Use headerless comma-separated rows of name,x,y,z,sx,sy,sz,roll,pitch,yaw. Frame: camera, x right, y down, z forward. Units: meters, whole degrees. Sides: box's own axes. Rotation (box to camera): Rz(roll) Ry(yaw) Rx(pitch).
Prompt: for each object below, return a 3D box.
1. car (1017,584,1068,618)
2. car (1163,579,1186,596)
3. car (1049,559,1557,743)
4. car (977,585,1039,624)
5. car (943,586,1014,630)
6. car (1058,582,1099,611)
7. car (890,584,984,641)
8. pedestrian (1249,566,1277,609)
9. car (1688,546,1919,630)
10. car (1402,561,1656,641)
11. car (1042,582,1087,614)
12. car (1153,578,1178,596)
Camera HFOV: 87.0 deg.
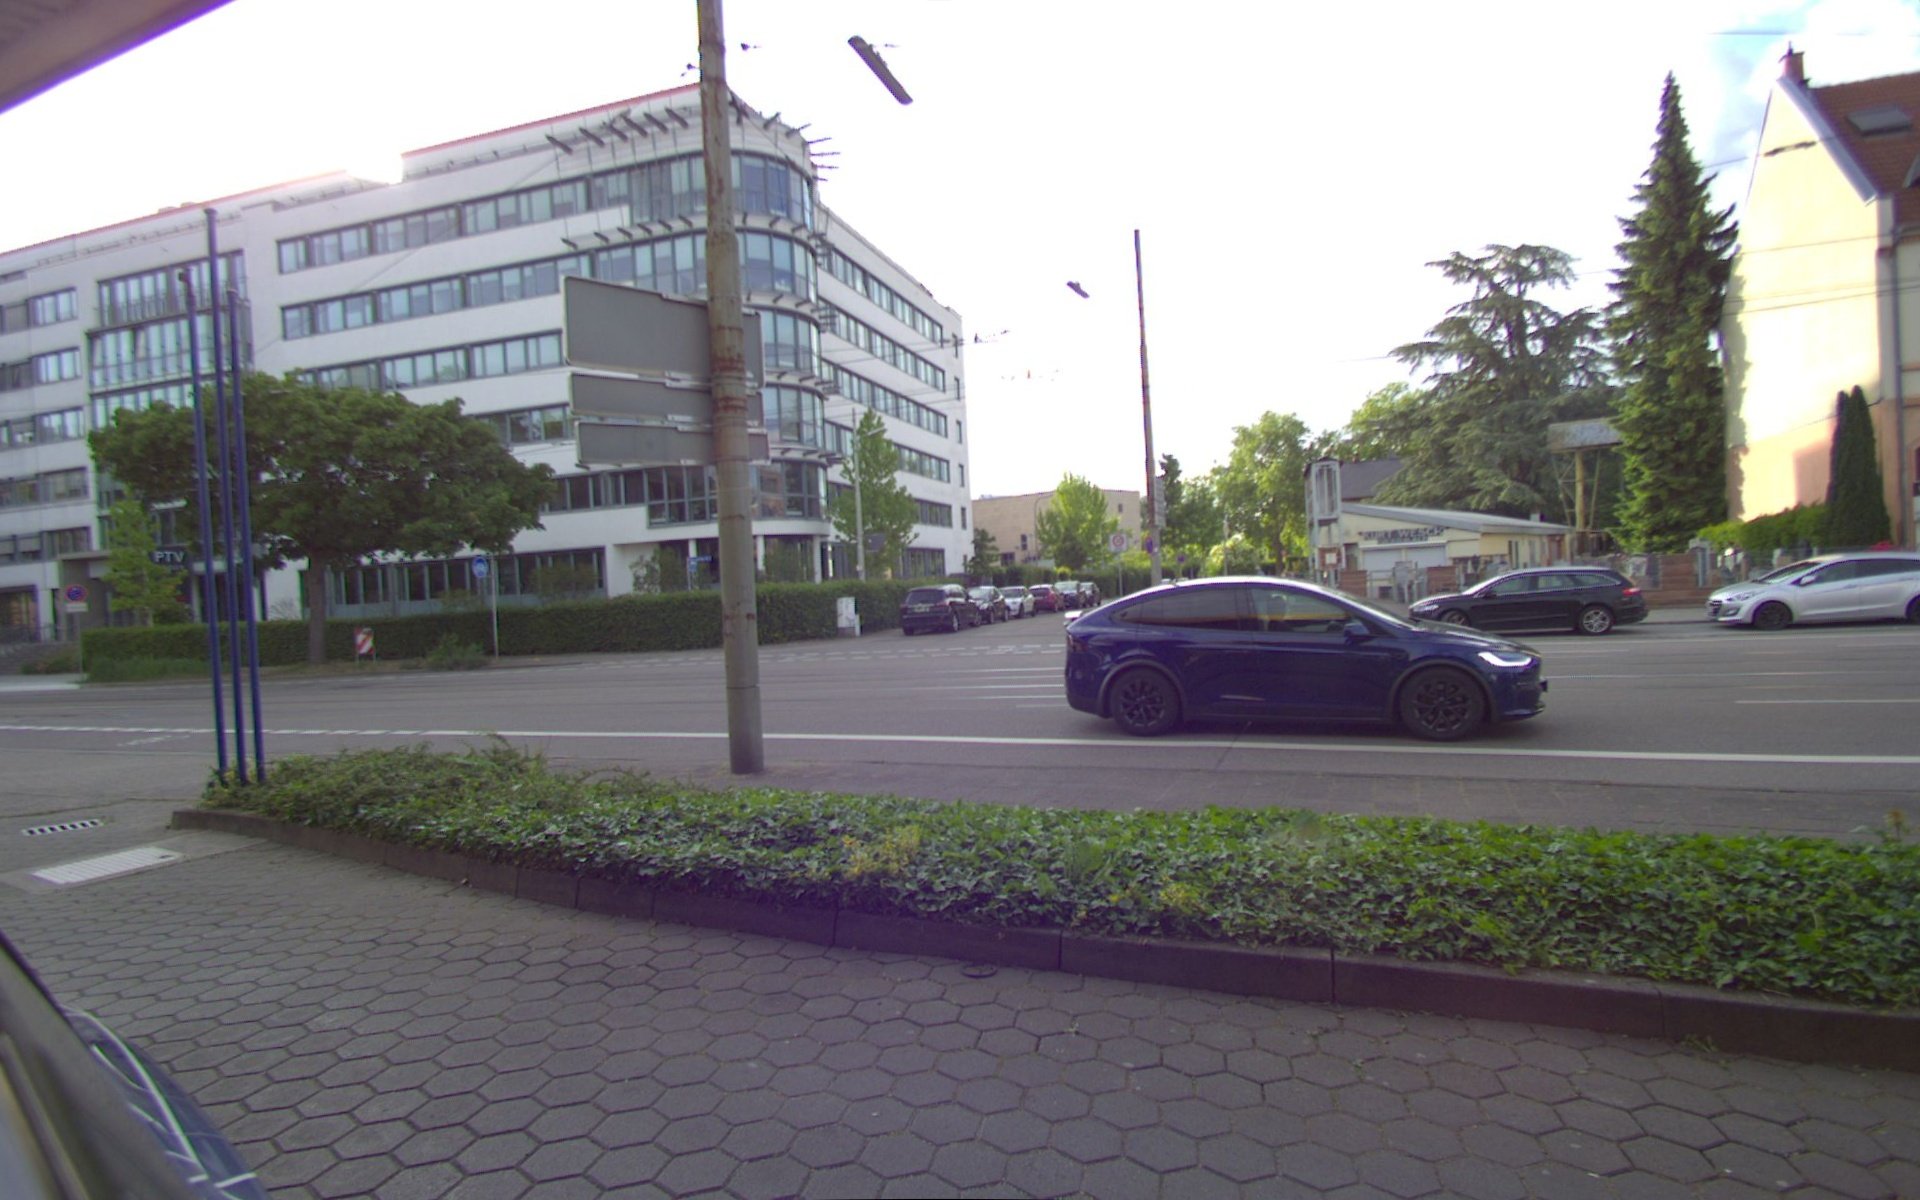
car,4.298,0.018,52.359,1.773,1.552,4.018,-4,0,17
car,22.577,-1.302,106.310,1.774,1.653,4.060,-4,0,19
car,3.574,0.543,11.069,4.820,1.669,1.757,-3,2,24
car,2.218,0.171,45.754,1.773,1.565,4.083,-4,0,17
car,0.809,0.284,40.893,1.773,1.565,4.083,-4,0,17
car,7.384,-0.237,62.671,1.773,1.653,4.064,-4,0,17
car,-0.711,0.376,35.536,1.962,1.625,4.411,-4,2,17
pedestrian,13.089,-0.533,43.730,1.000,1.843,1.083,-1,0,25
car,18.503,-0.263,21.497,4.459,1.486,1.986,-4,0,22
car,12.927,0.038,23.414,4.791,1.507,1.986,-3,0,22
car,5.993,-0.140,57.660,1.773,1.653,4.064,-4,0,17
car,20.438,-1.273,100.613,1.774,1.653,4.060,-4,0,19
